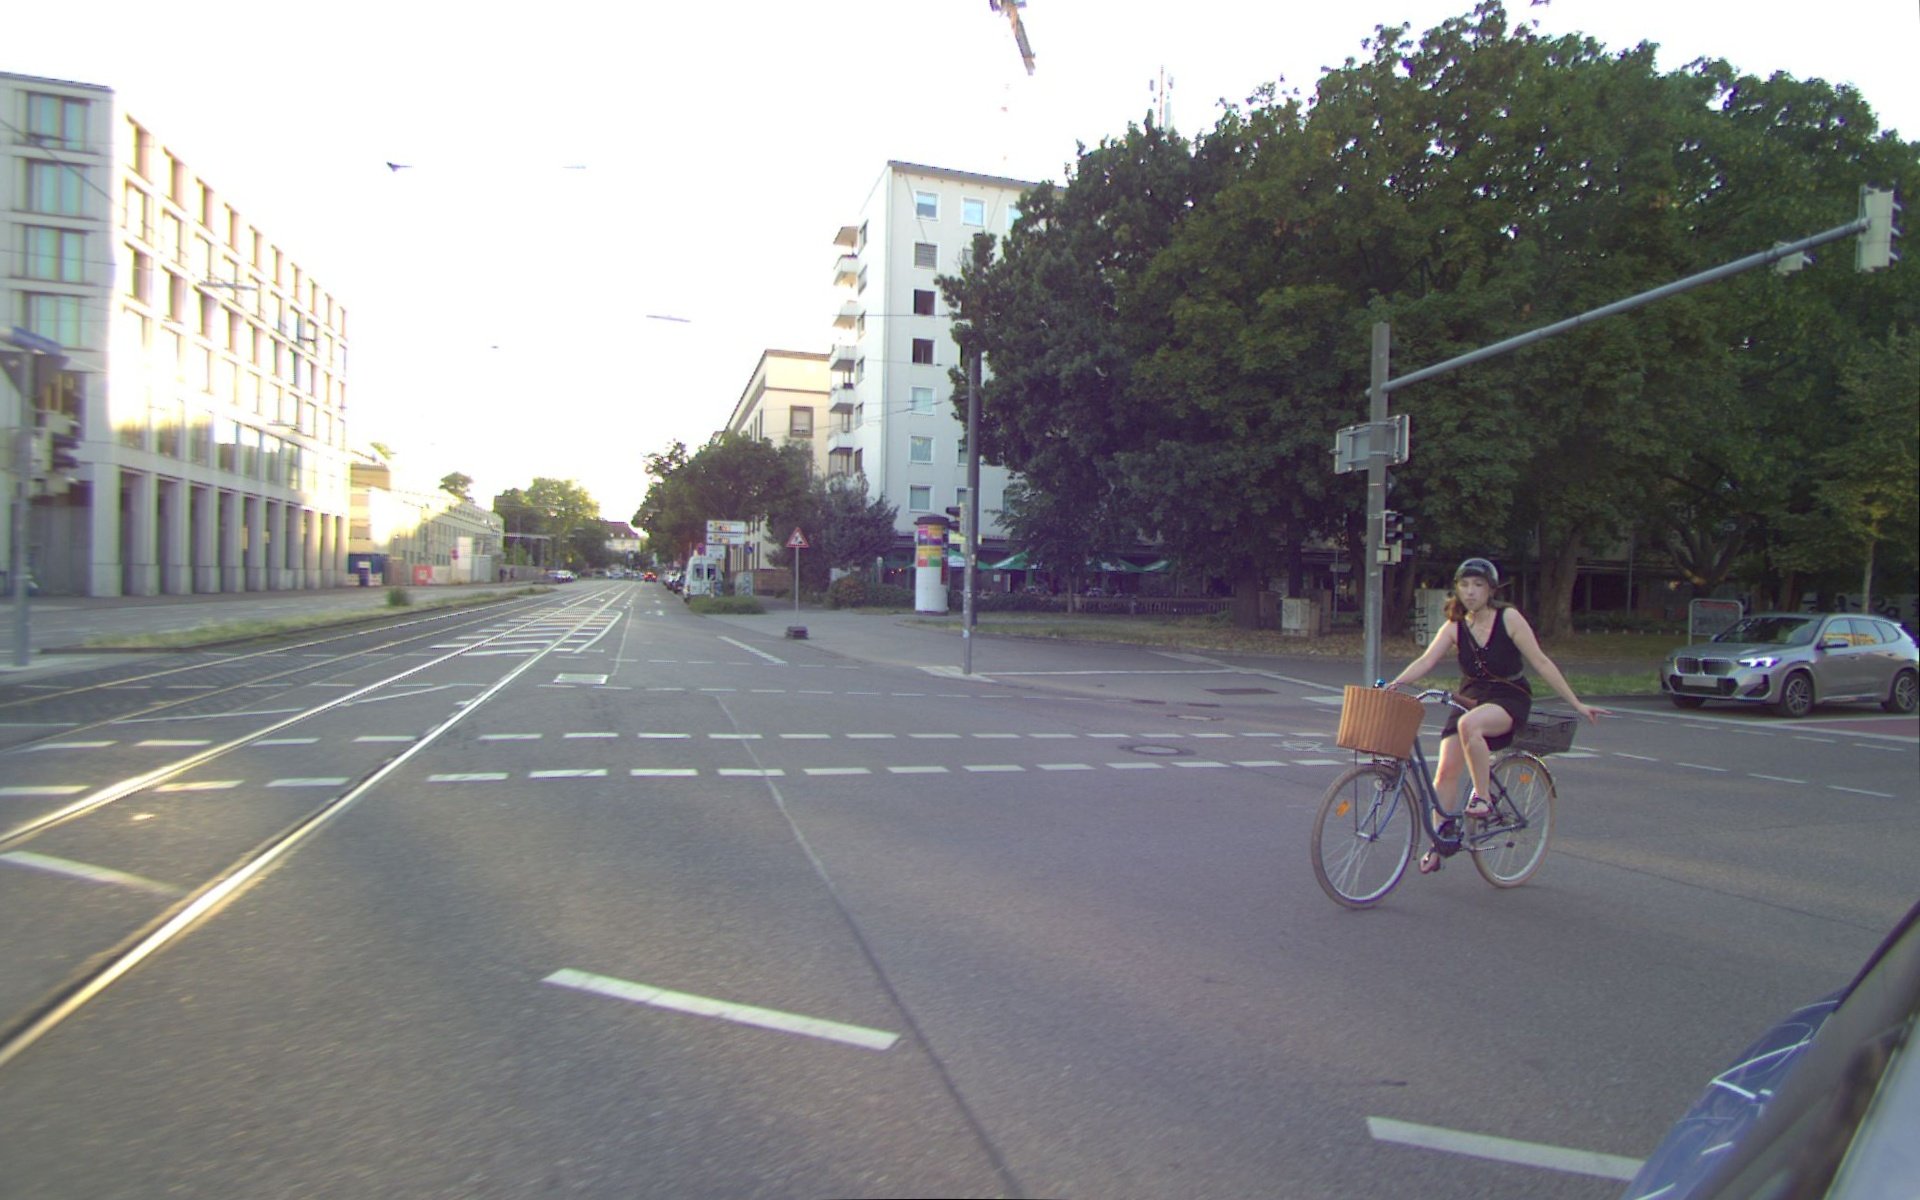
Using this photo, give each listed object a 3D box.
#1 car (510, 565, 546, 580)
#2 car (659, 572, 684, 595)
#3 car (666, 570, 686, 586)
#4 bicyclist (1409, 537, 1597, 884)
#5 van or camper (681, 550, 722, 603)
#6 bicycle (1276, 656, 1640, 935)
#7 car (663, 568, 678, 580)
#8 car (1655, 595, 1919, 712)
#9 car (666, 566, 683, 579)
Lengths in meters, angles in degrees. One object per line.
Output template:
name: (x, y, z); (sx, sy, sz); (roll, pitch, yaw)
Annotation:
car: (-50.636, -3.188, 118.700); (3.729, 1.669, 1.868); (1, 1, -18)
car: (-22.592, -1.314, 79.326); (1.687, 1.726, 3.818); (0, 2, -13)
car: (-27.831, -2.174, 99.258); (1.687, 1.448, 3.818); (1, 1, -14)
bicyclist: (2.797, 0.521, 5.235); (0.585, 1.656, 0.611); (1, 1, -29)
van or camper: (-14.162, -1.285, 55.272); (2.067, 2.715, 4.721); (1, 1, -16)
bicycle: (2.595, 0.897, 5.187); (2.044, 1.128, 0.610); (0, 1, -30)
car: (-37.662, -3.379, 131.690); (1.687, 1.505, 3.818); (1, 1, -13)
car: (13.882, 0.817, 16.560); (4.254, 1.684, 1.891); (1, 1, -18)
car: (-33.255, -3.228, 118.066); (1.687, 1.505, 3.818); (1, 1, -13)
